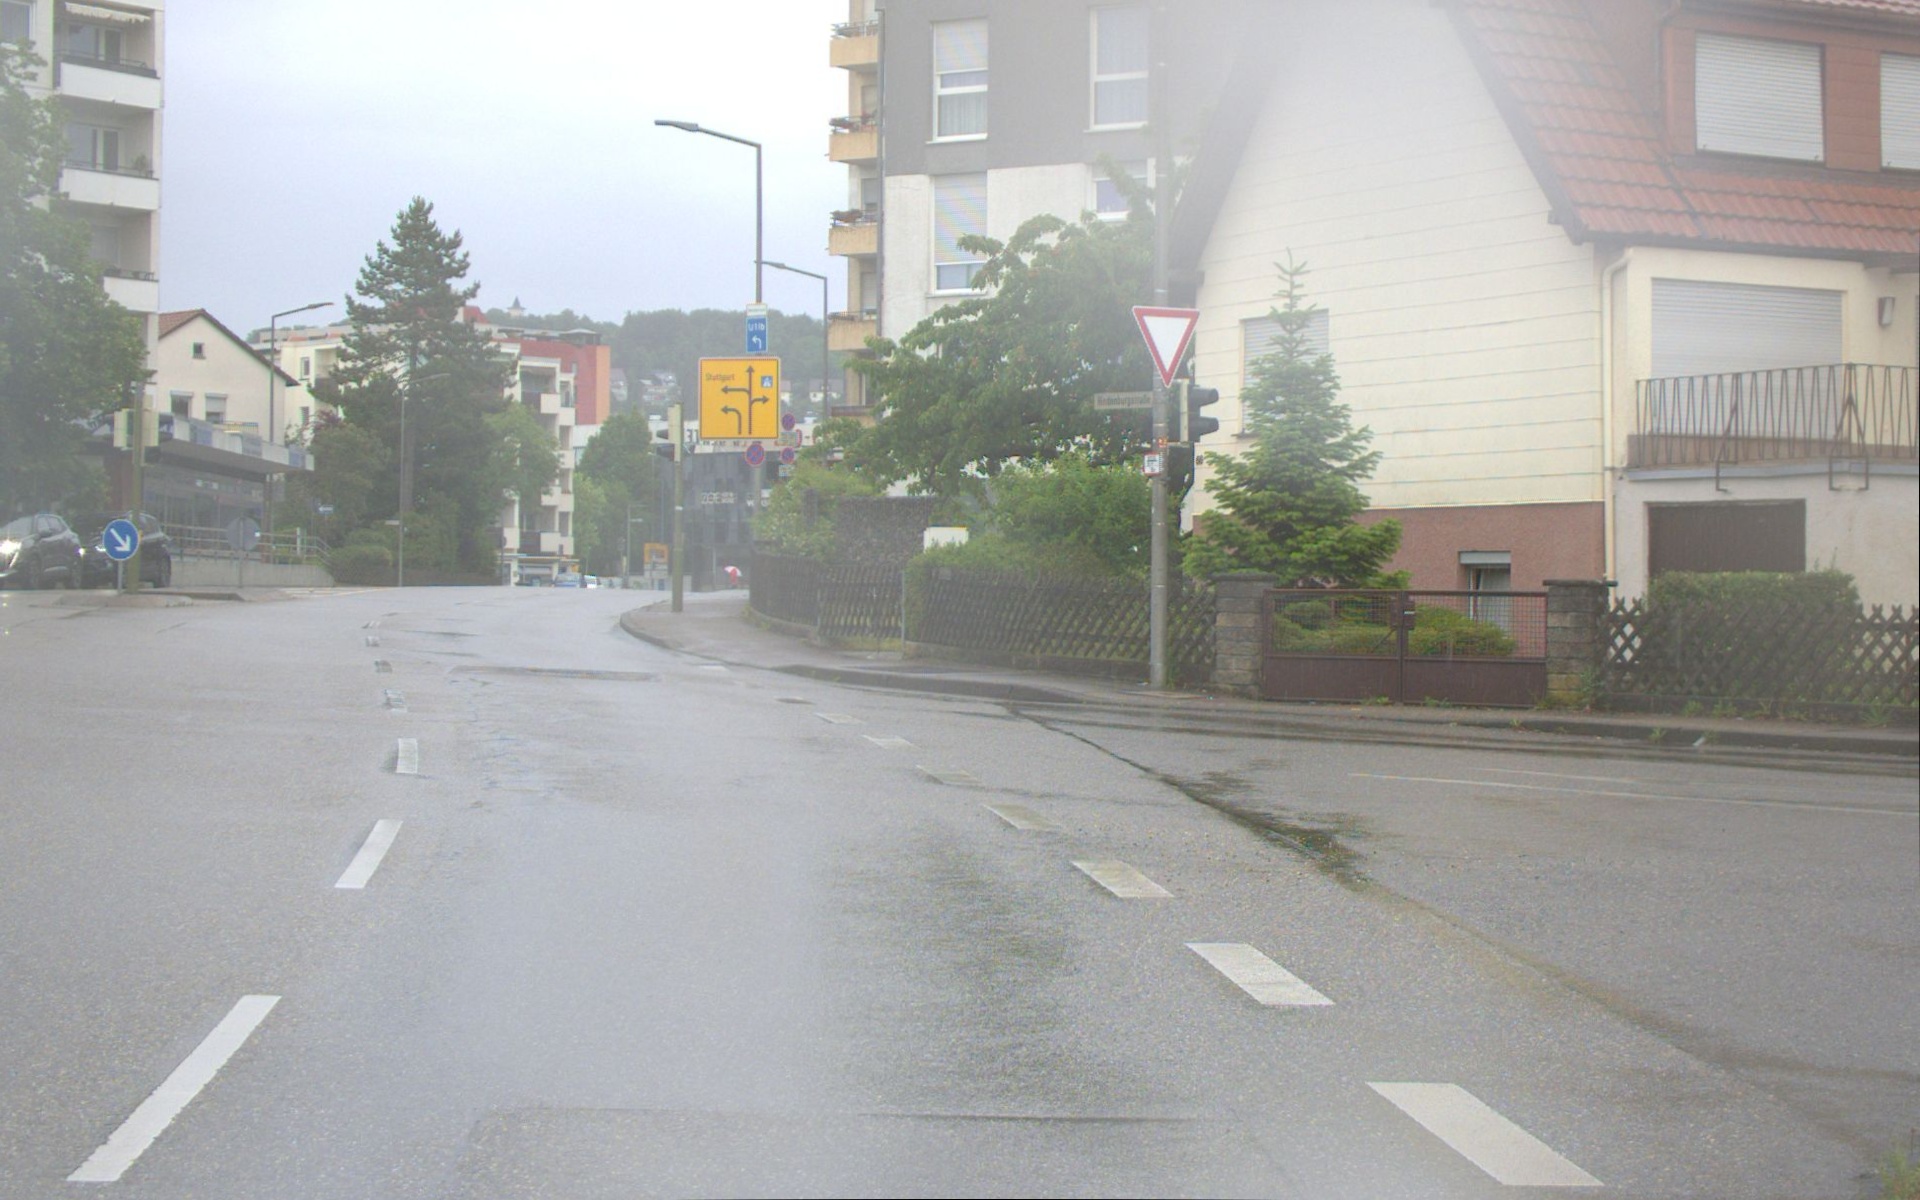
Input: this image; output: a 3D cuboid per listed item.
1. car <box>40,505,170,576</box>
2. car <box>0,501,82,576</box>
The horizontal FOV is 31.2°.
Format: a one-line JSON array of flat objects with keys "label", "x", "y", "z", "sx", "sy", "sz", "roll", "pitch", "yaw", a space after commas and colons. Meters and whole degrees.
[{"label": "car", "x": -17.742, "y": -1.250, "z": 71.471, "sx": 1.778, "sy": 1.415, "sz": 3.831, "roll": 1, "pitch": 1, "yaw": -1}, {"label": "car", "x": -18.109, "y": -1.200, "z": 65.564, "sx": 1.715, "sy": 1.382, "sz": 4.021, "roll": 1, "pitch": 1, "yaw": -1}]
